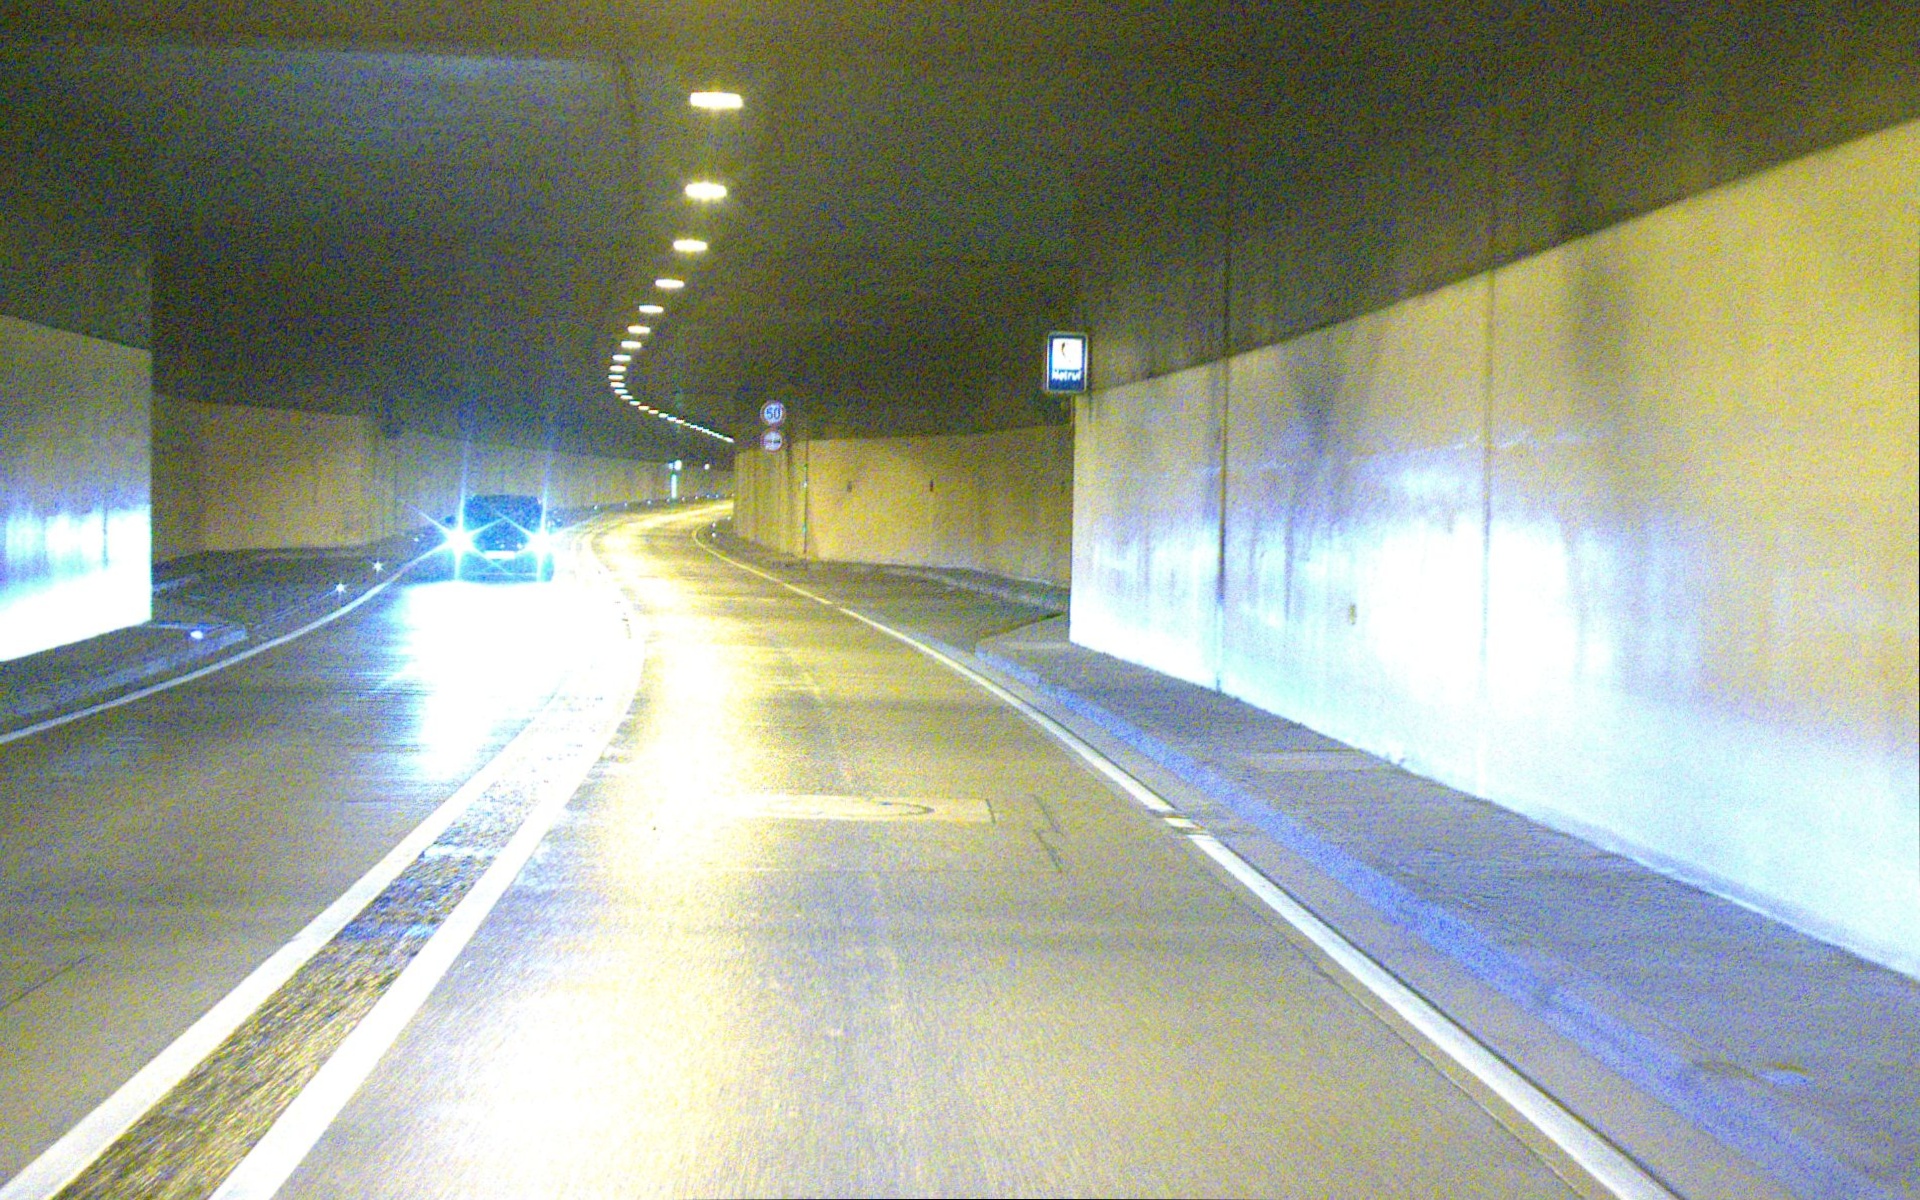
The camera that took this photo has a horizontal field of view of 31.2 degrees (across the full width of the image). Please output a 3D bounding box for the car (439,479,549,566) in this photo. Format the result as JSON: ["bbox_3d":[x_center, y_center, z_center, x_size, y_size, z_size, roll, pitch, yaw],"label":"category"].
[{"bbox_3d":[-8.015,-1.364,59.394,1.707,1.411,4.118,0,3,-5],"label":"car"}]
